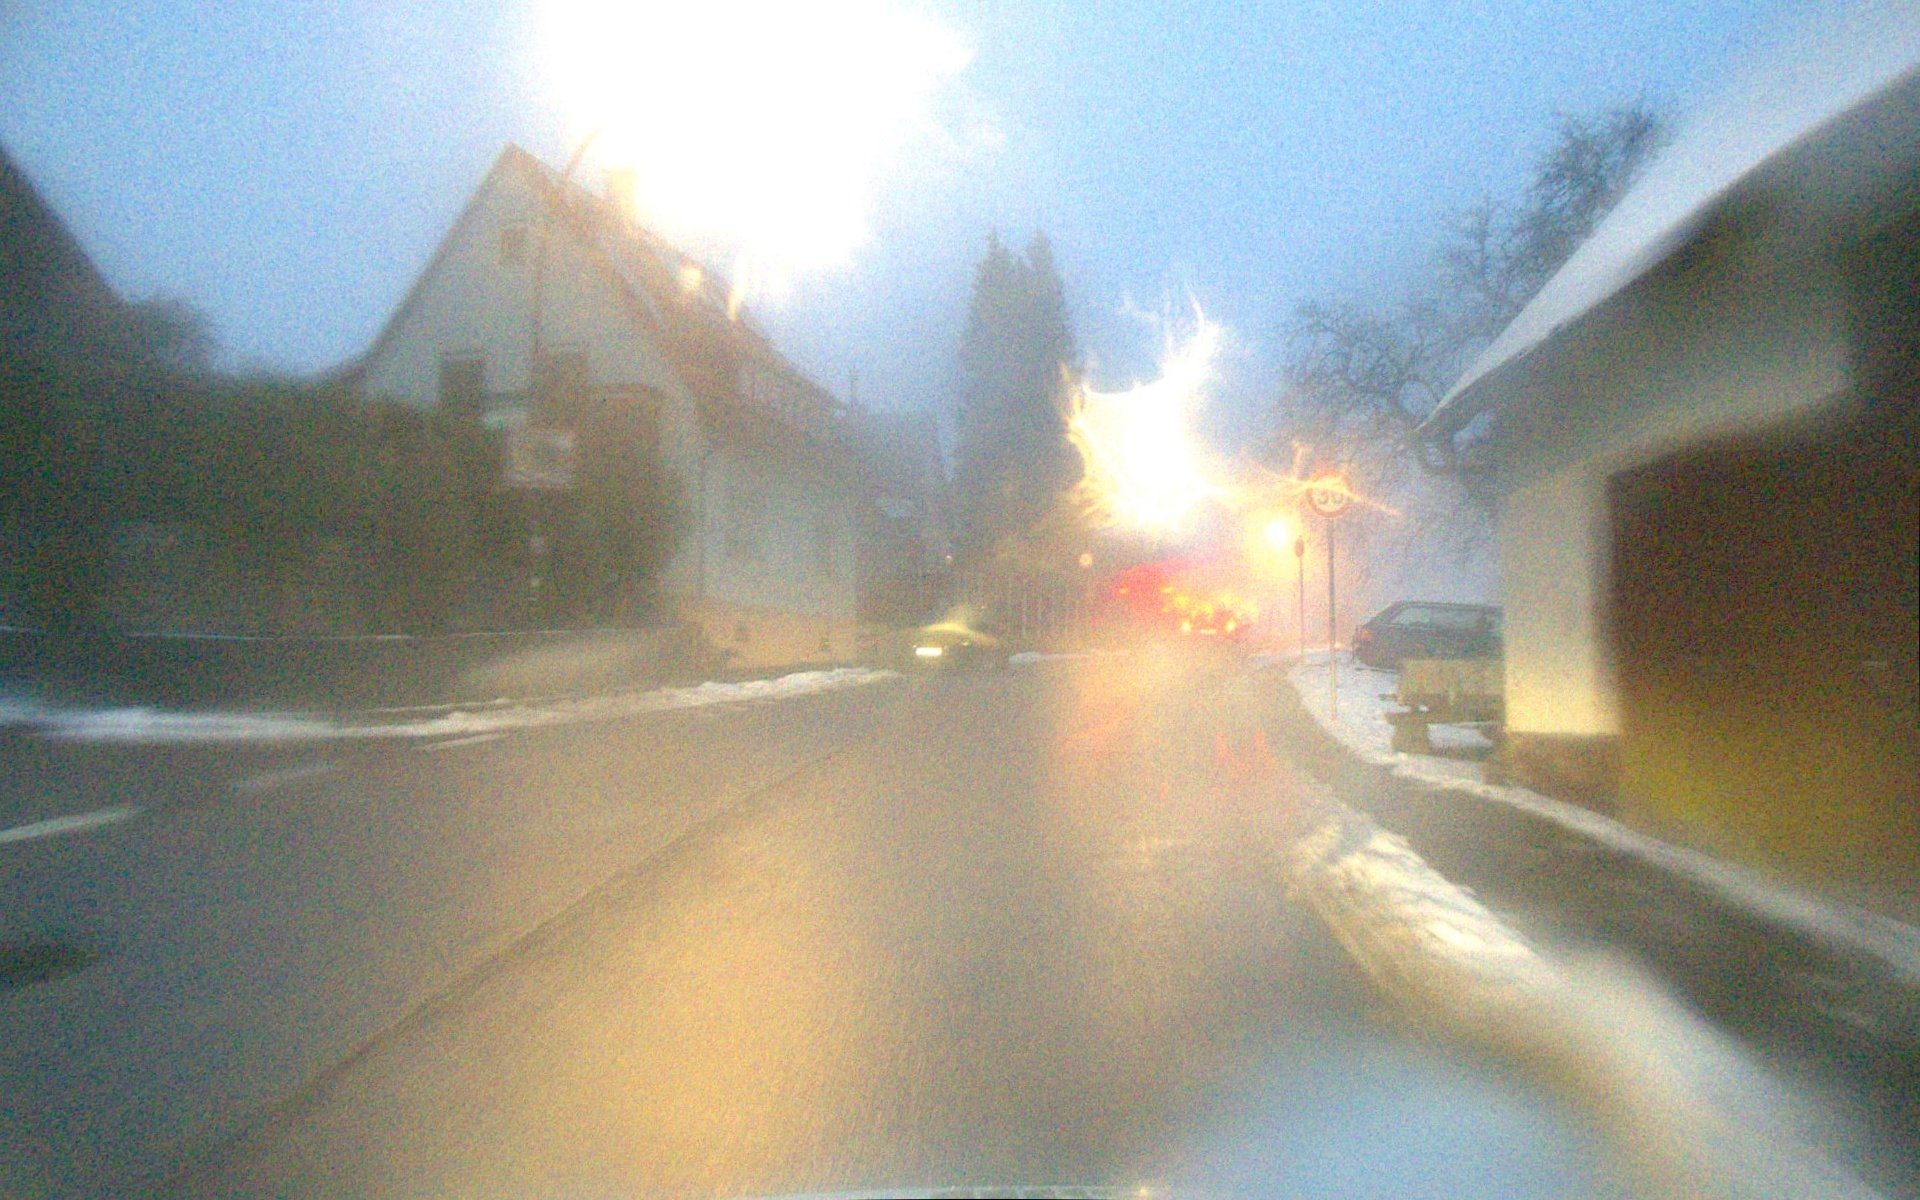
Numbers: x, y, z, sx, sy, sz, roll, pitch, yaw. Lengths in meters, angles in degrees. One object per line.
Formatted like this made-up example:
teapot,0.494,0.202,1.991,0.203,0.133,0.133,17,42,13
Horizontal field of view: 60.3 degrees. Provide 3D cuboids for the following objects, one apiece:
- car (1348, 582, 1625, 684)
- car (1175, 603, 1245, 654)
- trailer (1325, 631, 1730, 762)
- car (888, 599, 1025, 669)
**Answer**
car,9.036,0.549,28.702,4.356,1.406,2.037,4,1,15
car,7.375,0.858,48.897,1.951,1.445,4.003,-1,-2,8
trailer,4.999,0.799,15.182,1.519,0.962,3.983,-2,0,-15
car,0.019,0.717,37.201,1.837,1.451,5.396,0,0,14
